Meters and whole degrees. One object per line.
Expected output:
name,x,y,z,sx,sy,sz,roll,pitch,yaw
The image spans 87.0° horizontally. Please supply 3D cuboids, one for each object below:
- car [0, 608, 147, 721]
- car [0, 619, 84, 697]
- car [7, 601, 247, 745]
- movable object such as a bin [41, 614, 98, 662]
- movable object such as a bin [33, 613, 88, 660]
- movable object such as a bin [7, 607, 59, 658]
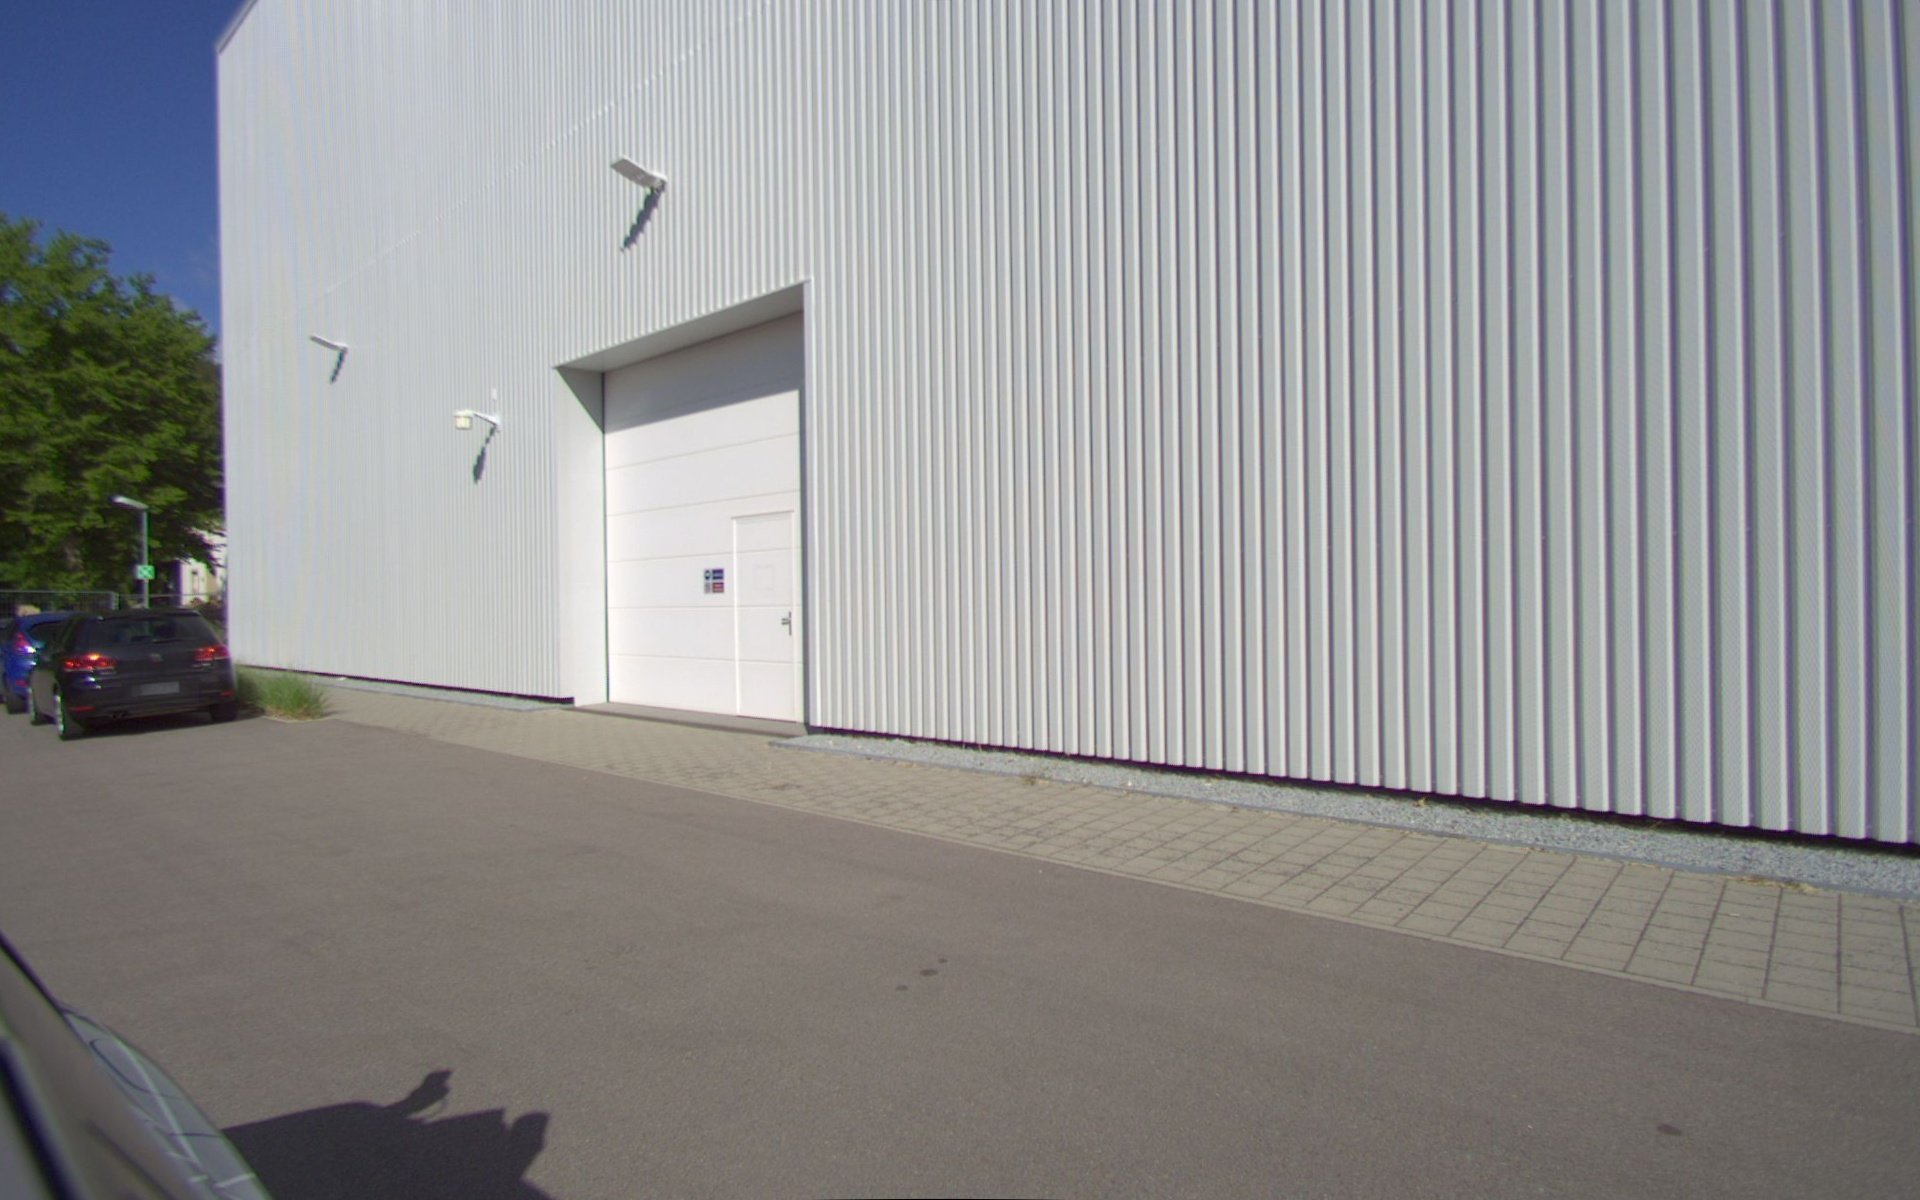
car,-14.630,0.950,16.293,4.092,1.511,1.614,-1,2,40
car,-18.738,1.088,19.863,4.051,1.371,1.756,-1,0,41
car,-10.899,0.830,13.128,4.292,1.511,1.736,-1,1,42
movable object such as a bin,-28.445,1.205,32.320,1.228,1.443,1.080,0,2,36
movable object such as a bin,-29.471,1.189,33.172,1.228,1.450,1.080,0,2,36
movable object such as a bin,-31.201,1.073,34.069,1.228,1.609,1.080,1,1,36
